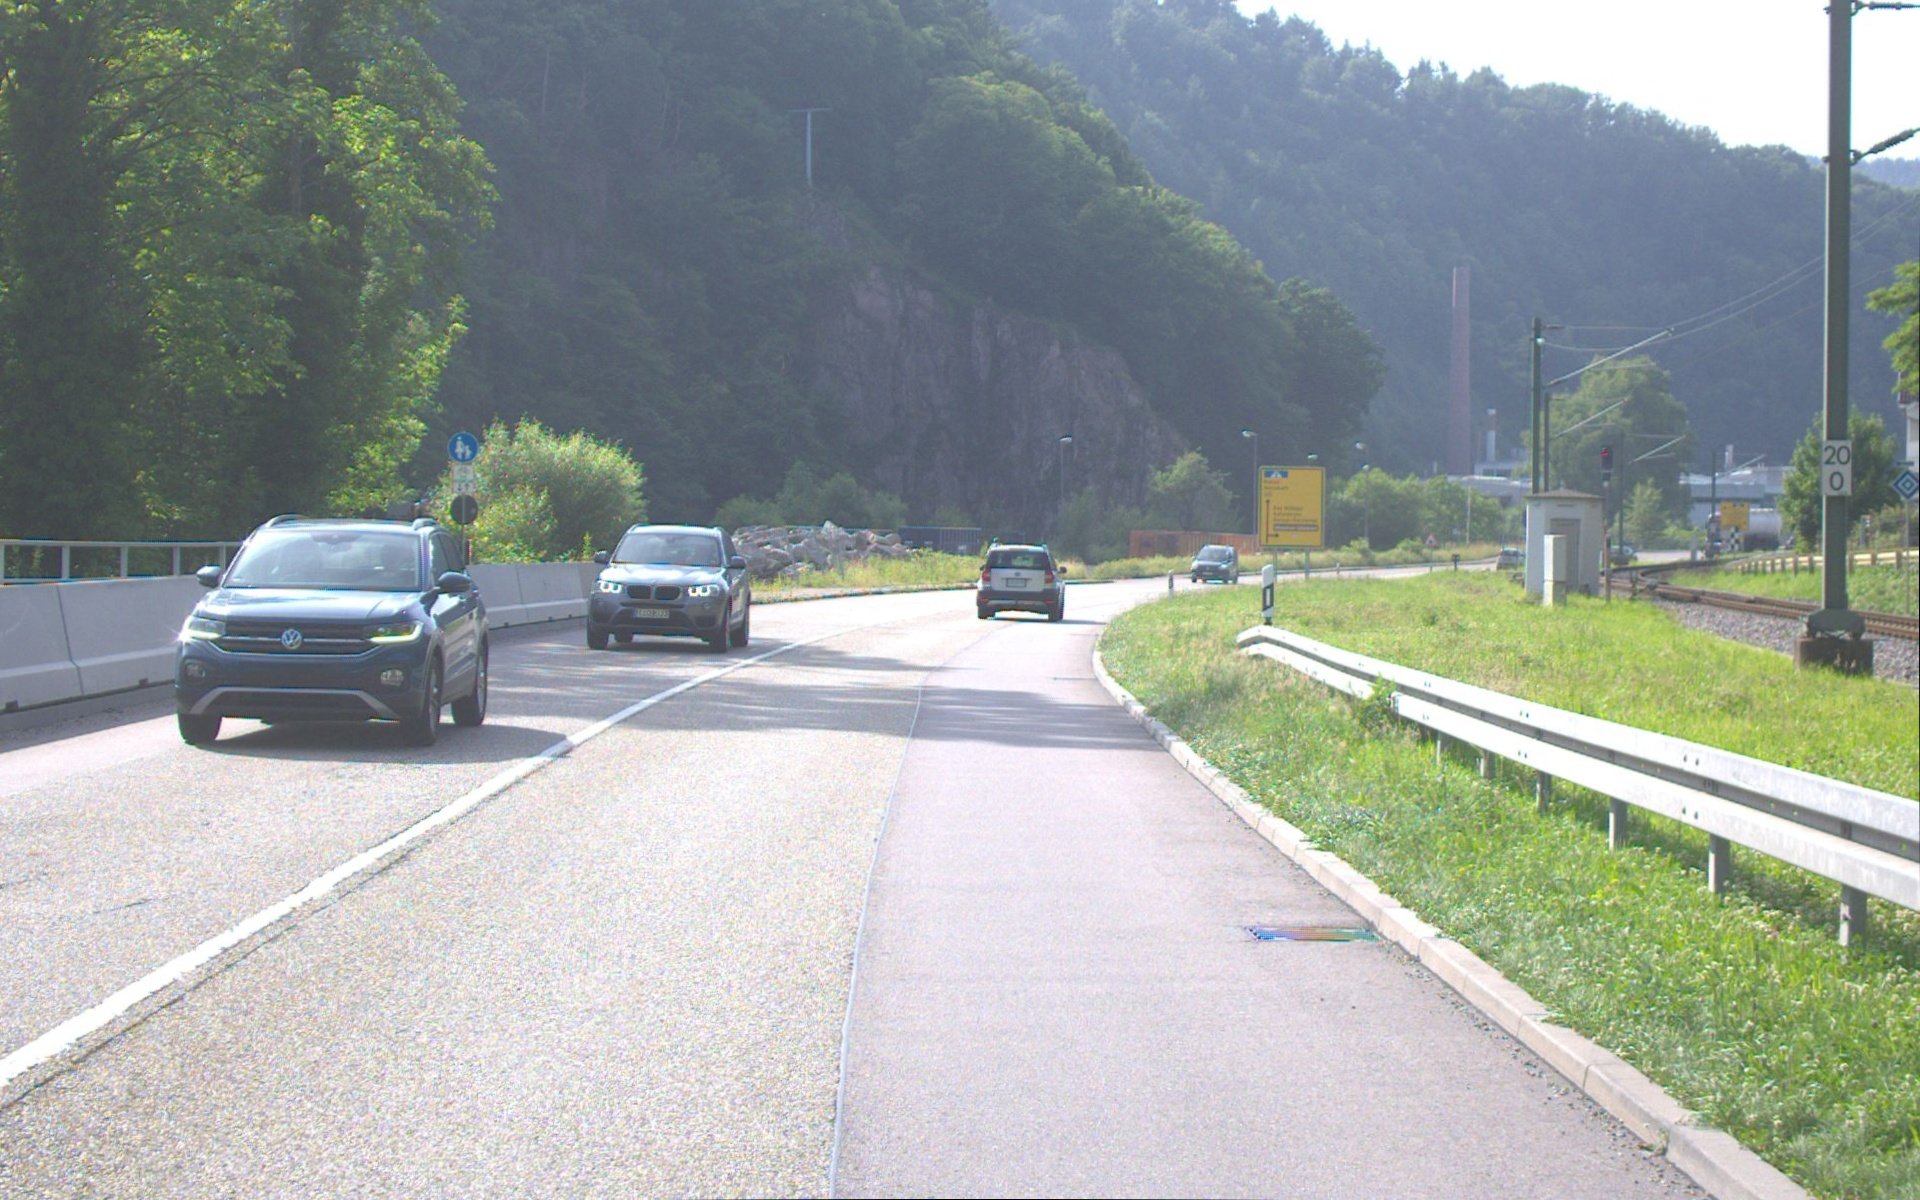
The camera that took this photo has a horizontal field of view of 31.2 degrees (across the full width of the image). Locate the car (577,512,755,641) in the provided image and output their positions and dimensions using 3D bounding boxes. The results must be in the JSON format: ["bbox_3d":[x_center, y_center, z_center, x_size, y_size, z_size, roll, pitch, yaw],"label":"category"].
[{"bbox_3d":[-3.938,-0.345,46.759,1.993,1.623,4.508,1,1,0],"label":"car"}]

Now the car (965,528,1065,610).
[{"bbox_3d":[1.244,-0.695,75.788,1.994,1.717,3.990,-1,1,4],"label":"car"}]

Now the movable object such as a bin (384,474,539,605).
[{"bbox_3d":[-15.727,-1.895,109.223,2.699,3.934,9.989,-1,1,4],"label":"movable object such as a bin"}]

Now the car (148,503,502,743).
[{"bbox_3d":[-4.513,0.104,25.027,1.798,1.551,4.332,1,1,-1],"label":"car"}]

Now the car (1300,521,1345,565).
[{"bbox_3d":[16.942,-2.669,160.569,1.994,2.007,3.999,-1,1,7],"label":"car"}]

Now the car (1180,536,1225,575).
[{"bbox_3d":[11.632,-2.150,164.674,1.851,1.778,4.683,2,1,7],"label":"car"}]
